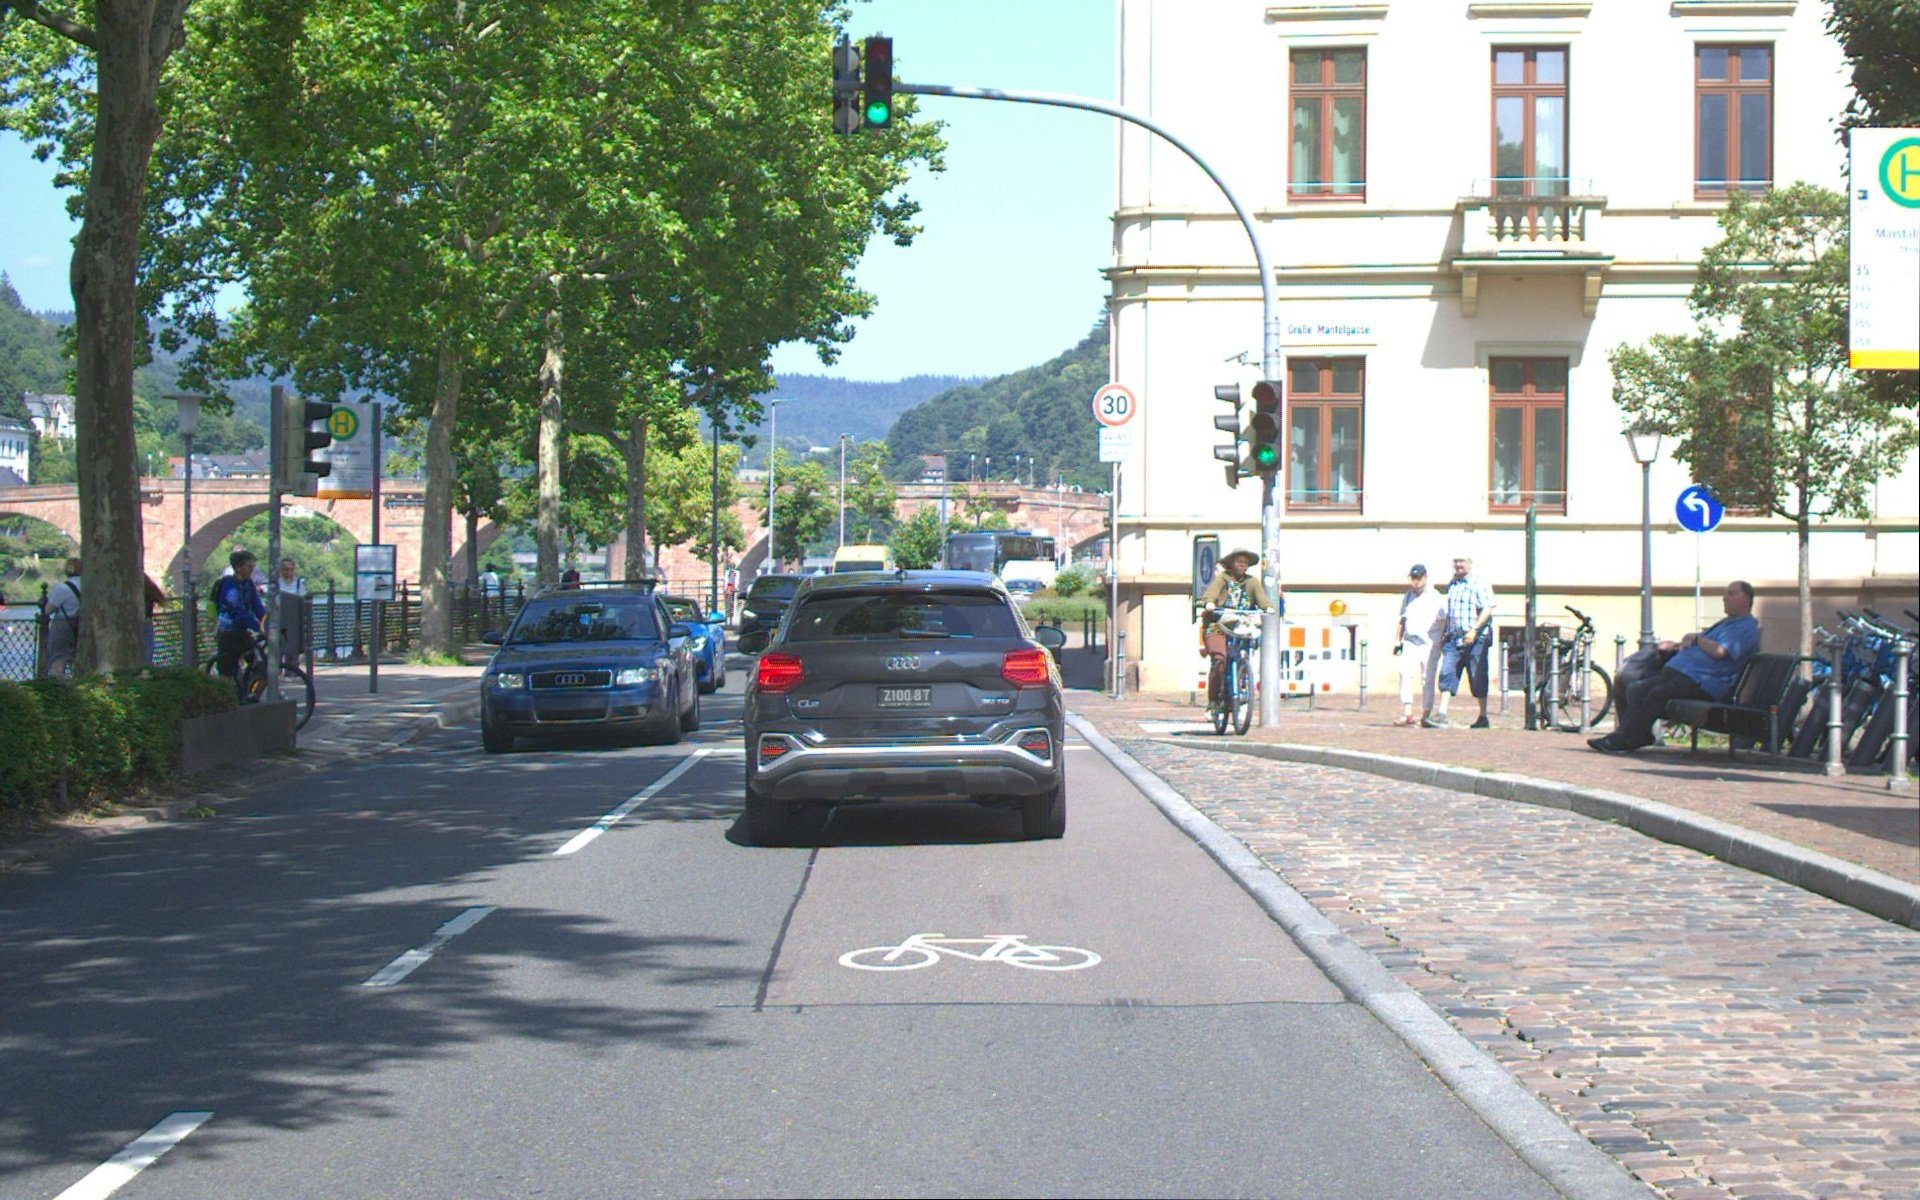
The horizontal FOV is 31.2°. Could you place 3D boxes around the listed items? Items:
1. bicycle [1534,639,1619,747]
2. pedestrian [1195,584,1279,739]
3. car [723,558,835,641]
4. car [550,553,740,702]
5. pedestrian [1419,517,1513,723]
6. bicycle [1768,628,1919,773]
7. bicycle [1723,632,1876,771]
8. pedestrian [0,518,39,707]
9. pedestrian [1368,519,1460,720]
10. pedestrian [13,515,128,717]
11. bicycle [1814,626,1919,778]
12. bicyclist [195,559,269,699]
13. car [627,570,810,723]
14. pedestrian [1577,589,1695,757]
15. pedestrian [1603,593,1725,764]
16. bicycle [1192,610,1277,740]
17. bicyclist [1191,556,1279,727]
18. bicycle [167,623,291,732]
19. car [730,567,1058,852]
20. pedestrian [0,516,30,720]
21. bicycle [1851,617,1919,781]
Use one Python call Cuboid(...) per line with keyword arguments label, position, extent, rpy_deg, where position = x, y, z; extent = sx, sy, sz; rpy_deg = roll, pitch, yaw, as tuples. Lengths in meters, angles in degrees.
Cuboid(label="bicycle", position=(5.775, 0.867, 32.229), extent=(0.298, 0.960, 1.188), rpy_deg=(3, 0, -13))
Cuboid(label="pedestrian", position=(2.745, 0.603, 34.114), extent=(0.693, 1.495, 0.514), rpy_deg=(3, 0, -4))
Cuboid(label="car", position=(-3.814, -0.004, 73.003), extent=(1.993, 1.620, 4.000), rpy_deg=(3, 0, 1))
Cuboid(label="car", position=(-4.148, 0.361, 45.924), extent=(1.993, 1.800, 4.000), rpy_deg=(3, 0, 1))
Cuboid(label="pedestrian", position=(5.042, 0.200, 34.270), extent=(0.640, 2.007, 0.664), rpy_deg=(3, 0, 30))
Cuboid(label="bicycle", position=(6.643, 0.756, 25.722), extent=(1.201, 1.031, 0.179), rpy_deg=(3, 0, -18))
Cuboid(label="bicycle", position=(6.440, 0.782, 26.368), extent=(1.184, 1.012, 0.179), rpy_deg=(3, 0, -18))
Cuboid(label="pedestrian", position=(-9.510, 0.104, 33.309), extent=(0.911, 1.805, 0.585), rpy_deg=(3, 0, 4))
Cuboid(label="pedestrian", position=(4.634, 0.199, 35.072), extent=(0.640, 2.007, 0.664), rpy_deg=(3, 0, 30))
Cuboid(label="pedestrian", position=(-9.092, 0.165, 35.157), extent=(0.911, 2.007, 0.585), rpy_deg=(3, 0, 4))
Cuboid(label="bicycle", position=(6.773, 0.748, 24.947), extent=(1.157, 1.066, 0.179), rpy_deg=(3, 0, -18))
Cuboid(label="bicyclist", position=(-7.009, 0.279, 33.108), extent=(0.566, 1.307, 0.552), rpy_deg=(3, 0, -4))
Cuboid(label="car", position=(-2.716, 0.494, 39.321), extent=(1.793, 1.589, 3.399), rpy_deg=(3, 1, 0))
Cuboid(label="pedestrian", position=(5.096, 0.543, 25.950), extent=(0.663, 1.227, 0.641), rpy_deg=(3, 0, -6))
Cuboid(label="pedestrian", position=(5.166, 0.570, 25.257), extent=(0.663, 1.207, 0.641), rpy_deg=(3, 0, -6))
Cuboid(label="bicycle", position=(2.384, 0.640, 30.008), extent=(0.437, 1.082, 1.677), rpy_deg=(3, 0, -4))
Cuboid(label="bicyclist", position=(2.397, 0.358, 30.029), extent=(0.605, 1.445, 0.591), rpy_deg=(3, 0, -5))
Cuboid(label="bicycle", position=(-7.030, 0.743, 33.079), extent=(1.093, 1.003, 0.304), rpy_deg=(3, -1, -6))
Cuboid(label="car", position=(-0.353, 0.565, 20.092), extent=(1.743, 1.504, 3.647), rpy_deg=(0, 1, 0))
Cuboid(label="pedestrian", position=(-9.811, 0.159, 34.081), extent=(0.911, 2.007, 0.585), rpy_deg=(3, 0, 4))
Cuboid(label="bicycle", position=(6.918, 0.715, 24.227), extent=(1.303, 1.124, 0.179), rpy_deg=(3, 0, -18))
